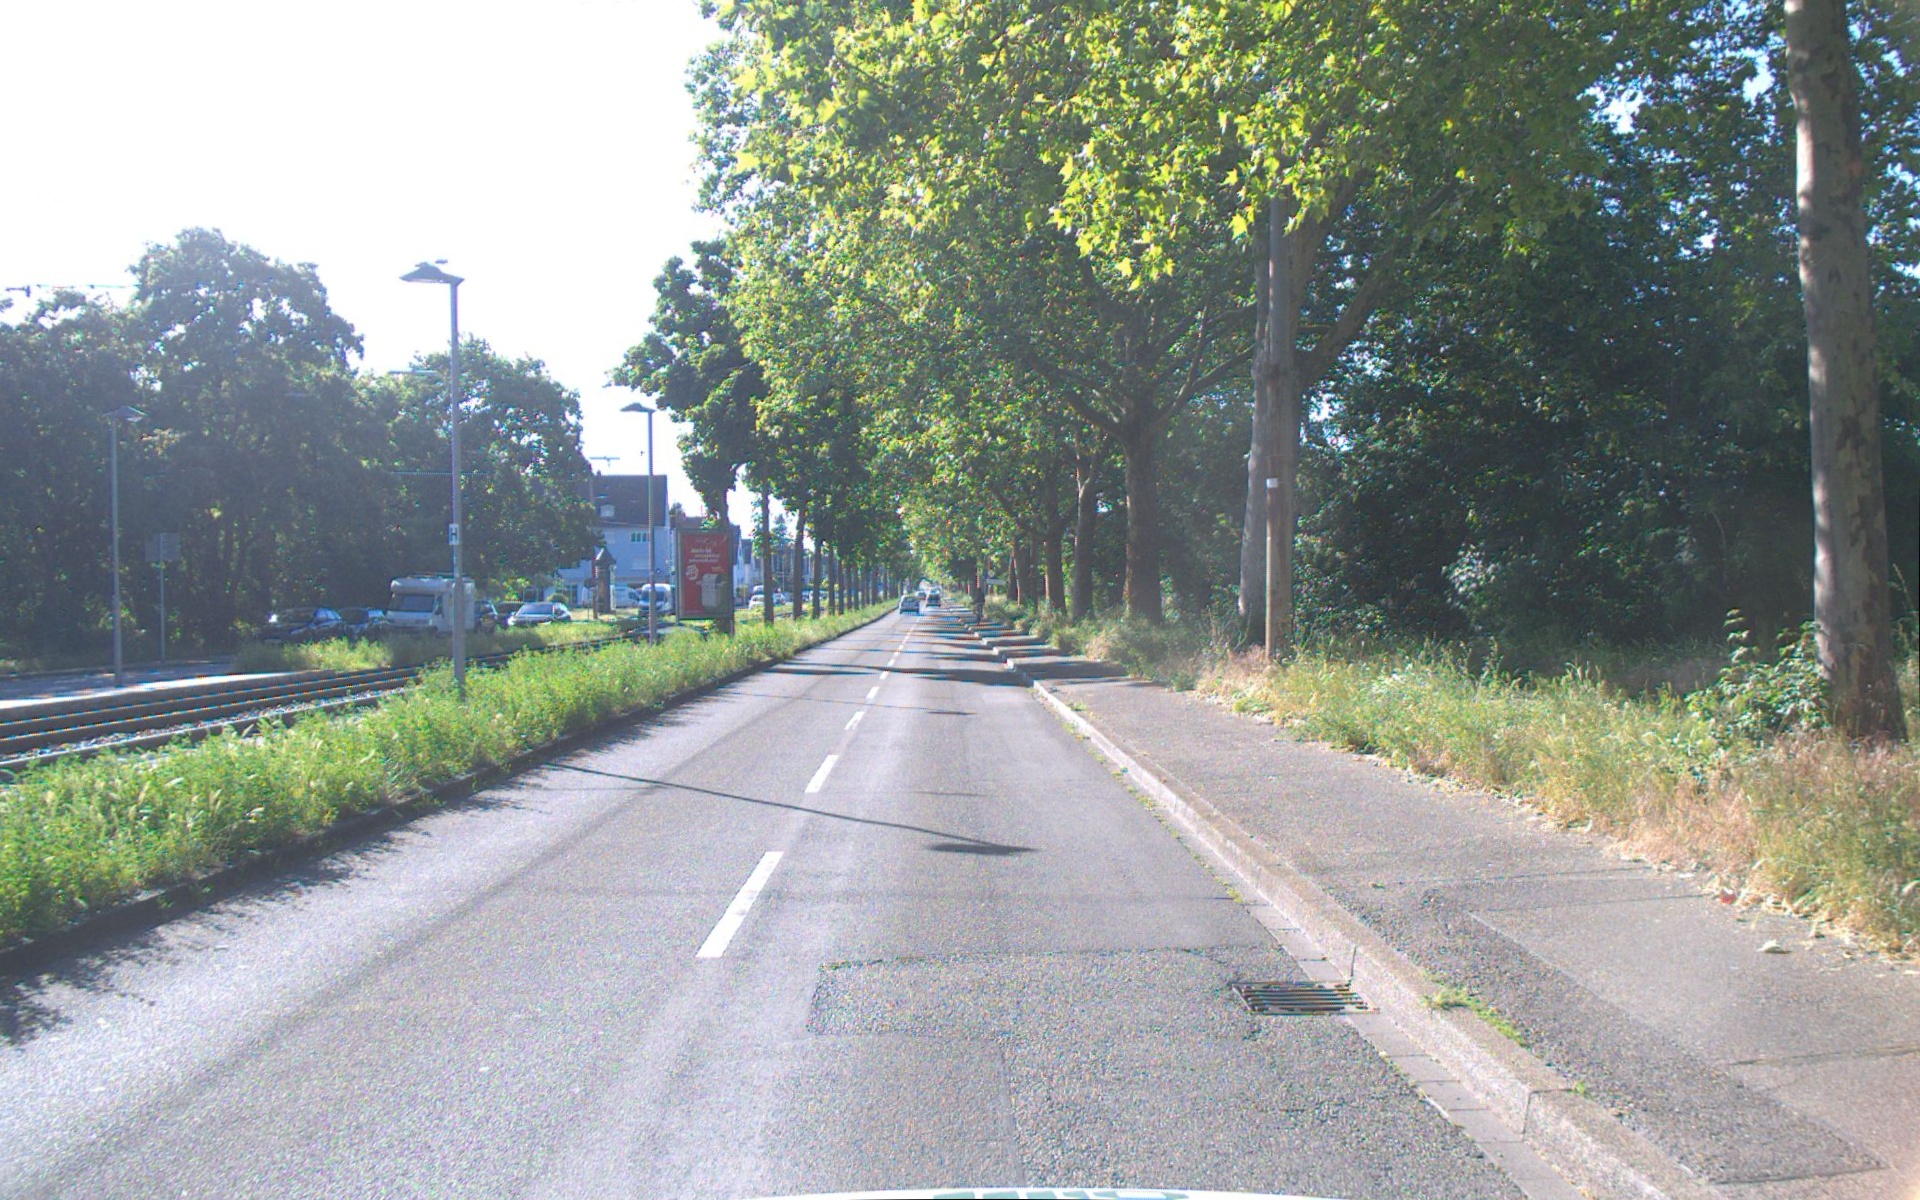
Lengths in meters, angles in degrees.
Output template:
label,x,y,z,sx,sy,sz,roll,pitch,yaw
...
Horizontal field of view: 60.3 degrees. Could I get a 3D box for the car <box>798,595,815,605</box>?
label,x,y,z,sx,sy,sz,roll,pitch,yaw
car,-19.151,-0.002,206.350,1.882,1.288,3.999,-1,0,-2

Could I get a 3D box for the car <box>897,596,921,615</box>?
label,x,y,z,sx,sy,sz,roll,pitch,yaw
car,-4.154,0.428,134.653,1.829,1.512,3.555,-1,0,-1

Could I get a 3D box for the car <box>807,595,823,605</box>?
label,x,y,z,sx,sy,sz,roll,pitch,yaw
car,-19.883,-0.058,226.705,1.882,1.288,3.999,-1,0,-2

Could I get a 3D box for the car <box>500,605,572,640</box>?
label,x,y,z,sx,sy,sz,roll,pitch,yaw
car,-17.237,0.897,67.405,1.881,1.288,4.000,-1,0,0

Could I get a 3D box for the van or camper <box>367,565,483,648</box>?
label,x,y,z,sx,sy,sz,roll,pitch,yaw
van or camper,-21.680,0.241,67.428,2.537,3.160,6.787,-1,0,-1

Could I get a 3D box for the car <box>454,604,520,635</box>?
label,x,y,z,sx,sy,sz,roll,pitch,yaw
car,-21.430,0.857,75.074,1.881,1.288,3.999,-1,0,-1

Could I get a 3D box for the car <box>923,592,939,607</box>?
label,x,y,z,sx,sy,sz,roll,pitch,yaw
car,-3.171,-0.085,182.228,1.715,1.632,3.749,0,0,-1

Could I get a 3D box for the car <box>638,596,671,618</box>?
label,x,y,z,sx,sy,sz,roll,pitch,yaw
car,-22.714,0.505,123.203,1.708,1.522,3.592,-1,0,0

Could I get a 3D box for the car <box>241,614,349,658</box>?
label,x,y,z,sx,sy,sz,roll,pitch,yaw
car,-21.882,1.164,54.611,1.881,1.288,4.000,-1,0,1

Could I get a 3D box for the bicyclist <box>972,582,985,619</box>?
label,x,y,z,sx,sy,sz,roll,pitch,yaw
bicyclist,0.912,0.005,80.916,0.523,1.800,0.712,-1,0,-3

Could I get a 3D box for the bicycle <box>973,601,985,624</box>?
label,x,y,z,sx,sy,sz,roll,pitch,yaw
bicycle,0.927,0.611,80.853,0.525,1.085,1.433,-1,0,-3

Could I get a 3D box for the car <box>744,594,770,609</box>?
label,x,y,z,sx,sy,sz,roll,pitch,yaw
car,-18.949,0.145,154.800,1.881,1.288,4.000,-1,0,0

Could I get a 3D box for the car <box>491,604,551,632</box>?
label,x,y,z,sx,sy,sz,roll,pitch,yaw
car,-21.511,0.874,81.200,1.881,1.288,3.999,-1,0,-1

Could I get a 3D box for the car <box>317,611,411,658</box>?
label,x,y,z,sx,sy,sz,roll,pitch,yaw
car,-21.707,1.232,60.392,1.881,1.589,4.001,-1,0,1

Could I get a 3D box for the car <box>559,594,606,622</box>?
label,x,y,z,sx,sy,sz,roll,pitch,yaw
car,-22.762,0.453,99.912,1.881,1.604,4.000,-1,0,0

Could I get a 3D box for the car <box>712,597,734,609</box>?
label,x,y,z,sx,sy,sz,roll,pitch,yaw
car,-26.306,0.291,183.802,1.882,1.288,3.999,-1,0,-2
